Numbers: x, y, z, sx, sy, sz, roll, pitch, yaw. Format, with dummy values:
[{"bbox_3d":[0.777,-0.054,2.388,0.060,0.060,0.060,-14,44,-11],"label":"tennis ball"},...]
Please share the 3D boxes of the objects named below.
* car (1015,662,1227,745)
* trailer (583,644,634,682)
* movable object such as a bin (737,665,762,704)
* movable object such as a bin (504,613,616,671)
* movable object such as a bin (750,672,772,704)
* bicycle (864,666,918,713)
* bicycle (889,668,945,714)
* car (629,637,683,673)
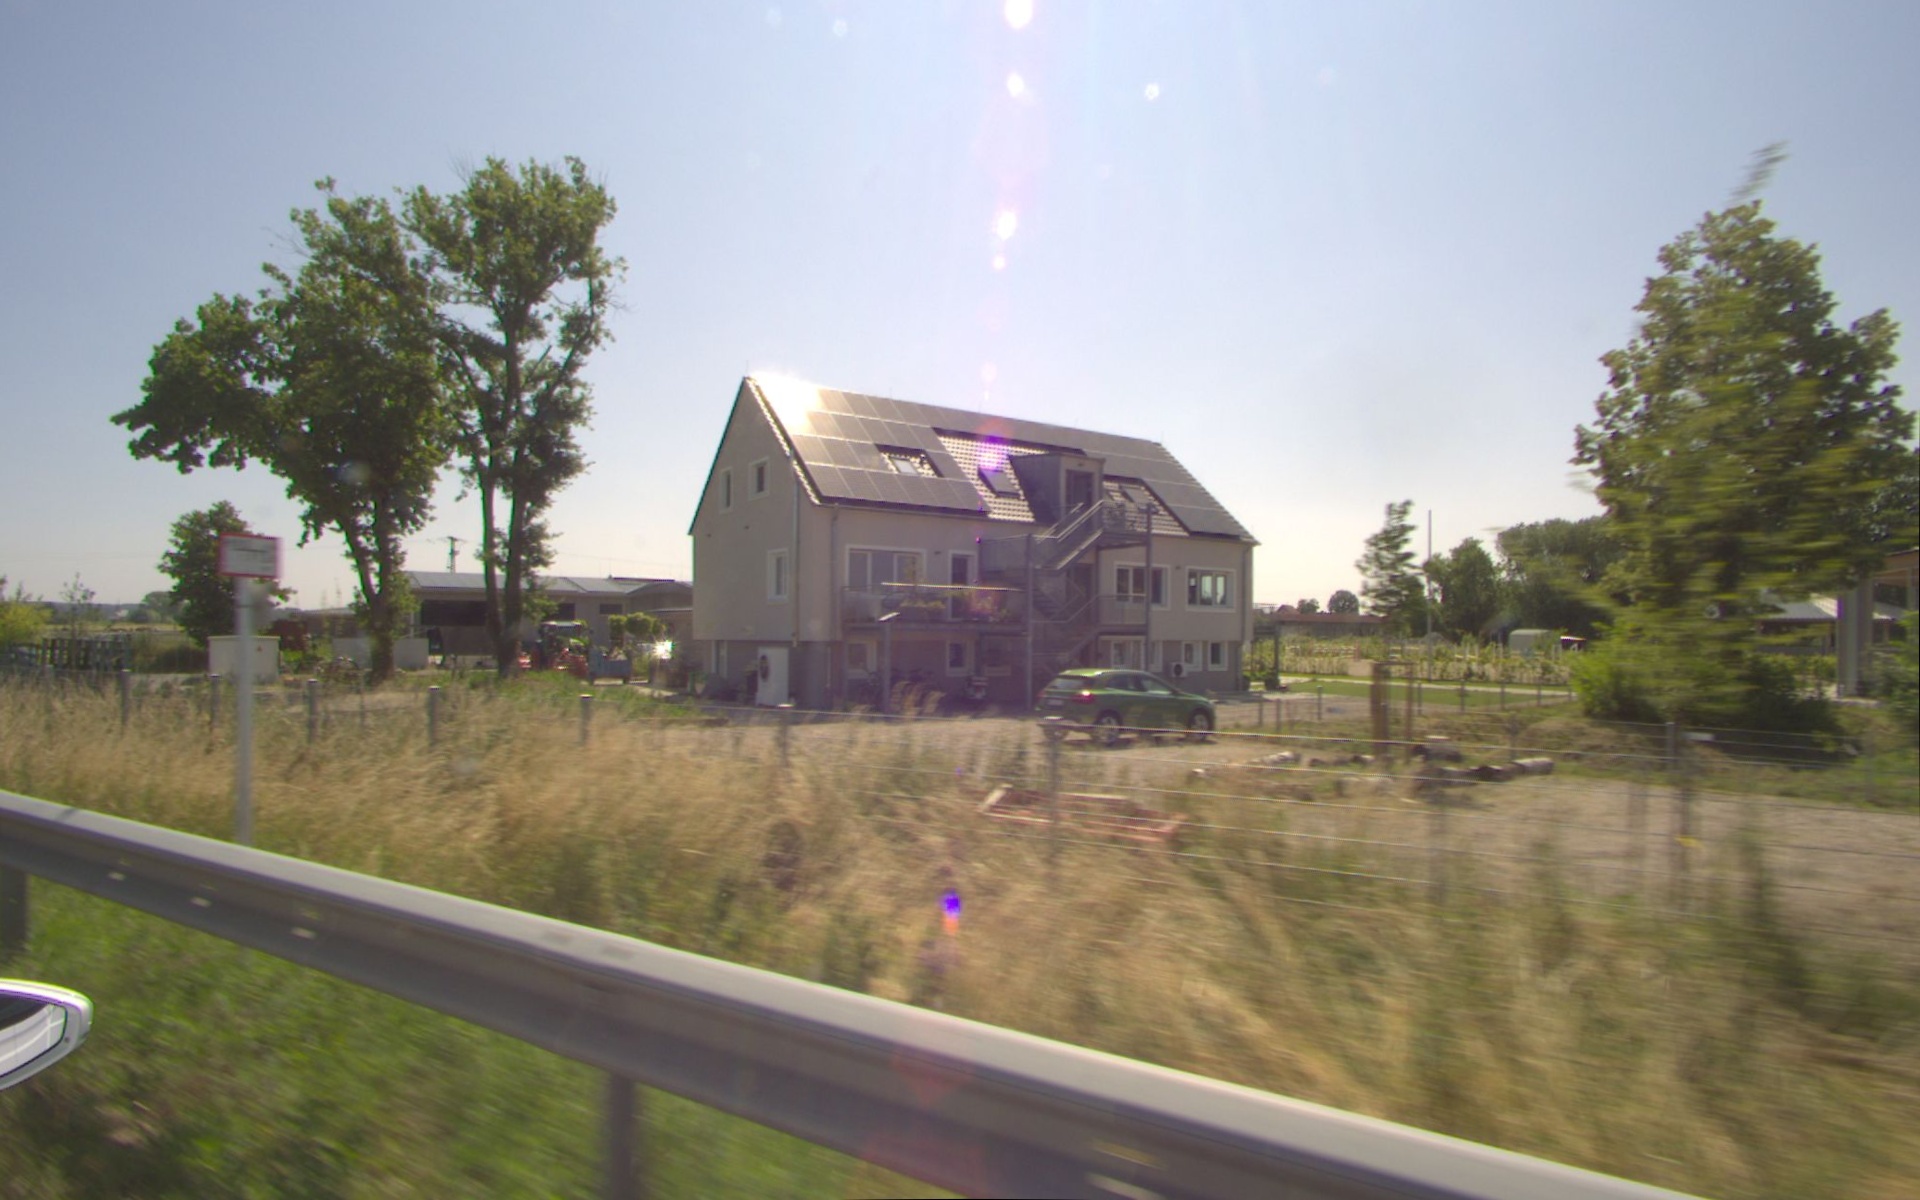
[{"bbox_3d":[3.467,2.172,21.348,4.317,1.599,1.923,3,-5,-33],"label":"car"},{"bbox_3d":[-14.749,2.656,41.923,1.690,1.514,3.131,1,-4,-25],"label":"trailer"},{"bbox_3d":[-6.531,2.606,31.086,0.570,1.165,0.658,1,-1,-30],"label":"movable object such as a bin"},{"bbox_3d":[-20.780,2.163,51.880,6.437,2.804,2.986,-1,-3,45],"label":"movable object such as a bin"},{"bbox_3d":[-6.099,2.691,30.629,0.497,0.922,0.557,1,-1,-30],"label":"movable object such as a bin"},{"bbox_3d":[-1.953,2.485,28.091,0.705,1.206,1.960,3,-3,-30],"label":"bicycle"},{"bbox_3d":[-1.240,2.591,28.722,0.705,1.206,1.959,2,-2,-32],"label":"bicycle"},{"bbox_3d":[-18.293,3.295,60.134,1.976,1.596,3.846,3,3,-35],"label":"car"}]
